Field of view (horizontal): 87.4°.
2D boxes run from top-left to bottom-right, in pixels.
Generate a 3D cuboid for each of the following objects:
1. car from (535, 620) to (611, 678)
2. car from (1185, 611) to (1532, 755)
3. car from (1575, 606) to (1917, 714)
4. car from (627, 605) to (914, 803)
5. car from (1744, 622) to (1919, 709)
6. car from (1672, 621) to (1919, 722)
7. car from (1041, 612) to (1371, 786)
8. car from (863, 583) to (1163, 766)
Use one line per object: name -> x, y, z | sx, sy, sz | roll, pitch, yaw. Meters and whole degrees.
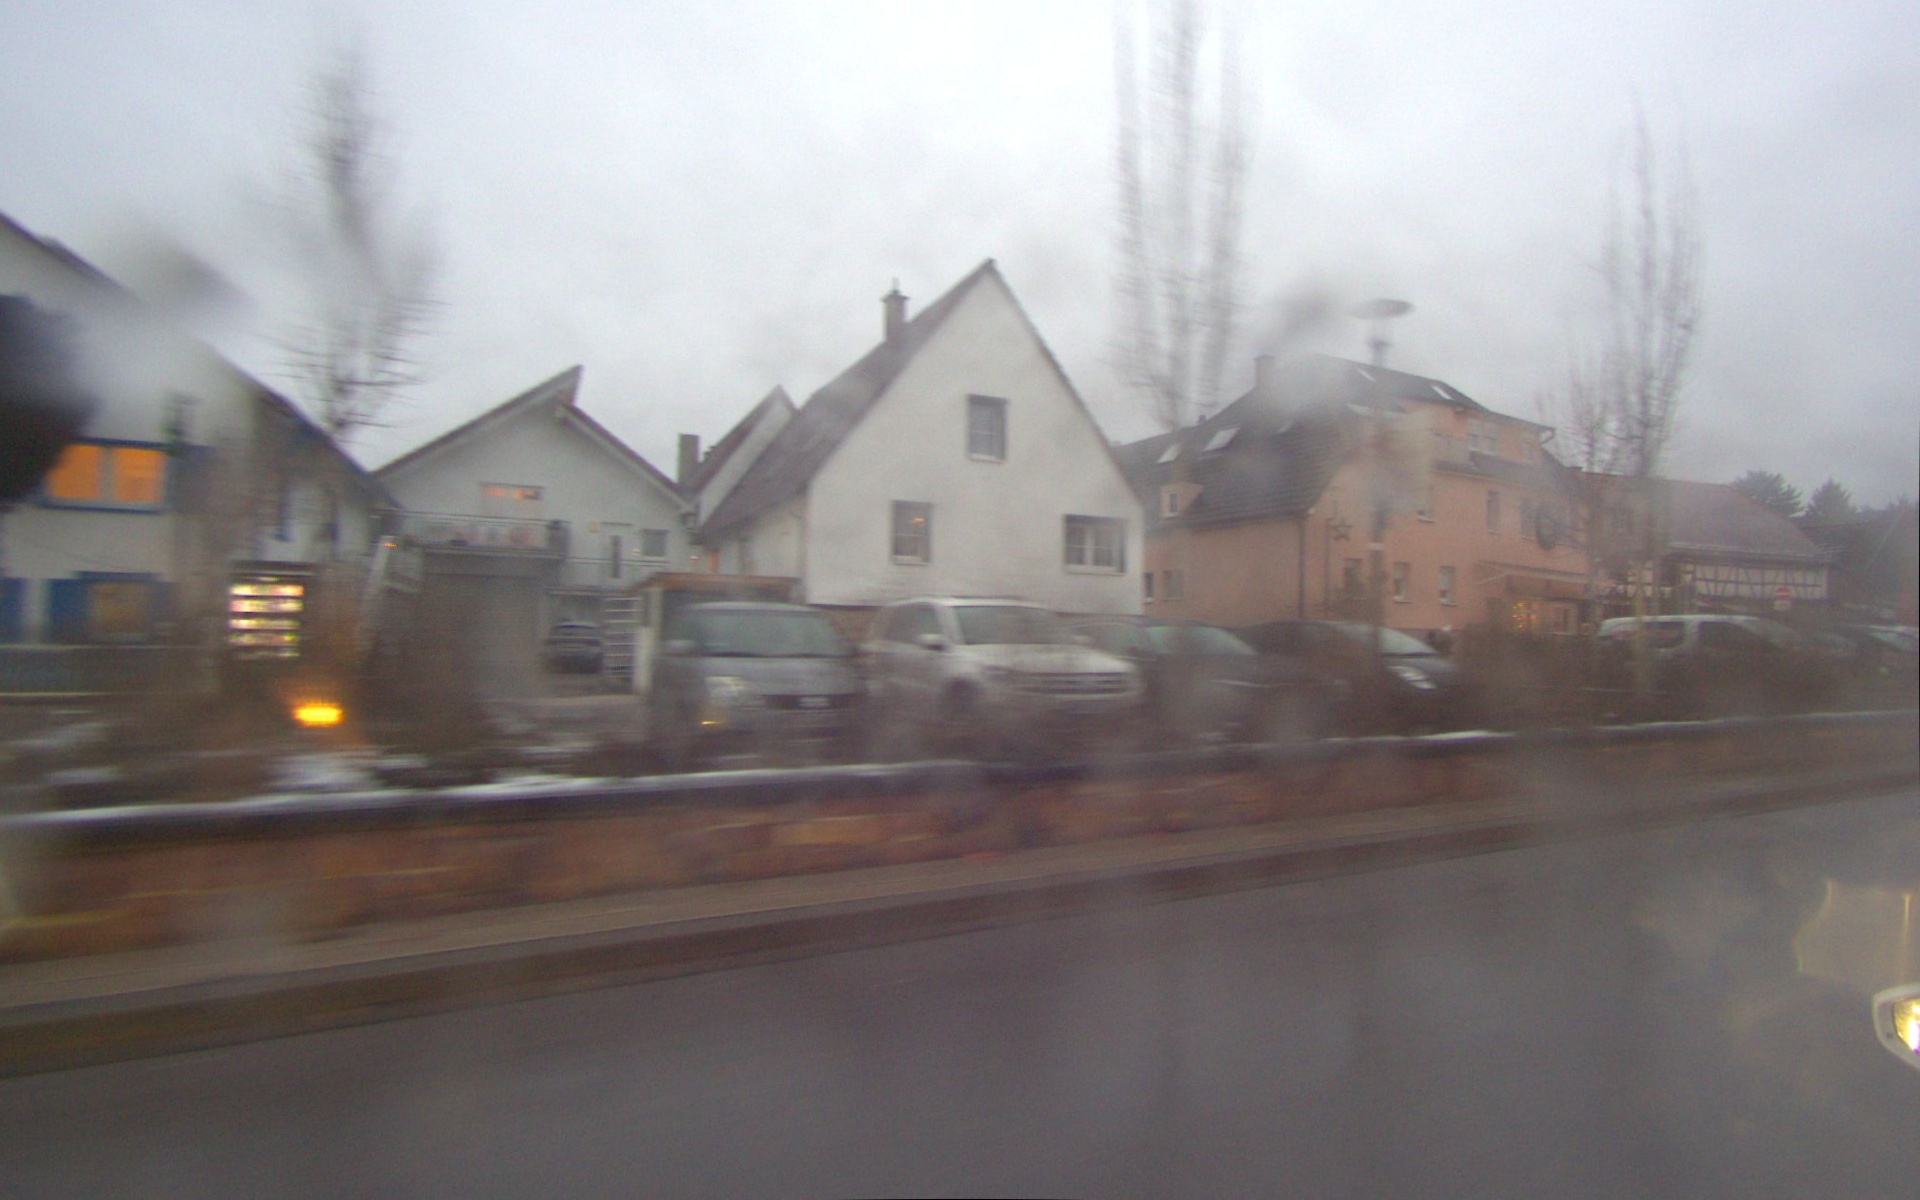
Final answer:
car -> -11.330, 1.404, 29.481 | 1.890, 1.516, 3.924 | 3, -2, -21
car -> 5.100, 1.008, 13.480 | 1.855, 1.517, 4.114 | 4, -1, -26
car -> 14.329, 1.017, 18.625 | 1.977, 1.689, 4.602 | 2, -1, -30
car -> -1.887, 0.770, 9.151 | 1.581, 1.391, 3.429 | 1, 0, -29
car -> 19.332, 1.350, 21.167 | 1.635, 1.665, 4.156 | 2, -1, -24
car -> 16.778, 1.320, 19.817 | 1.656, 1.674, 4.187 | 2, -1, -24
car -> 2.665, 1.007, 11.881 | 1.566, 1.629, 4.081 | 2, -1, -25
car -> 0.344, 0.665, 10.536 | 1.690, 1.543, 3.786 | 2, -1, -22
